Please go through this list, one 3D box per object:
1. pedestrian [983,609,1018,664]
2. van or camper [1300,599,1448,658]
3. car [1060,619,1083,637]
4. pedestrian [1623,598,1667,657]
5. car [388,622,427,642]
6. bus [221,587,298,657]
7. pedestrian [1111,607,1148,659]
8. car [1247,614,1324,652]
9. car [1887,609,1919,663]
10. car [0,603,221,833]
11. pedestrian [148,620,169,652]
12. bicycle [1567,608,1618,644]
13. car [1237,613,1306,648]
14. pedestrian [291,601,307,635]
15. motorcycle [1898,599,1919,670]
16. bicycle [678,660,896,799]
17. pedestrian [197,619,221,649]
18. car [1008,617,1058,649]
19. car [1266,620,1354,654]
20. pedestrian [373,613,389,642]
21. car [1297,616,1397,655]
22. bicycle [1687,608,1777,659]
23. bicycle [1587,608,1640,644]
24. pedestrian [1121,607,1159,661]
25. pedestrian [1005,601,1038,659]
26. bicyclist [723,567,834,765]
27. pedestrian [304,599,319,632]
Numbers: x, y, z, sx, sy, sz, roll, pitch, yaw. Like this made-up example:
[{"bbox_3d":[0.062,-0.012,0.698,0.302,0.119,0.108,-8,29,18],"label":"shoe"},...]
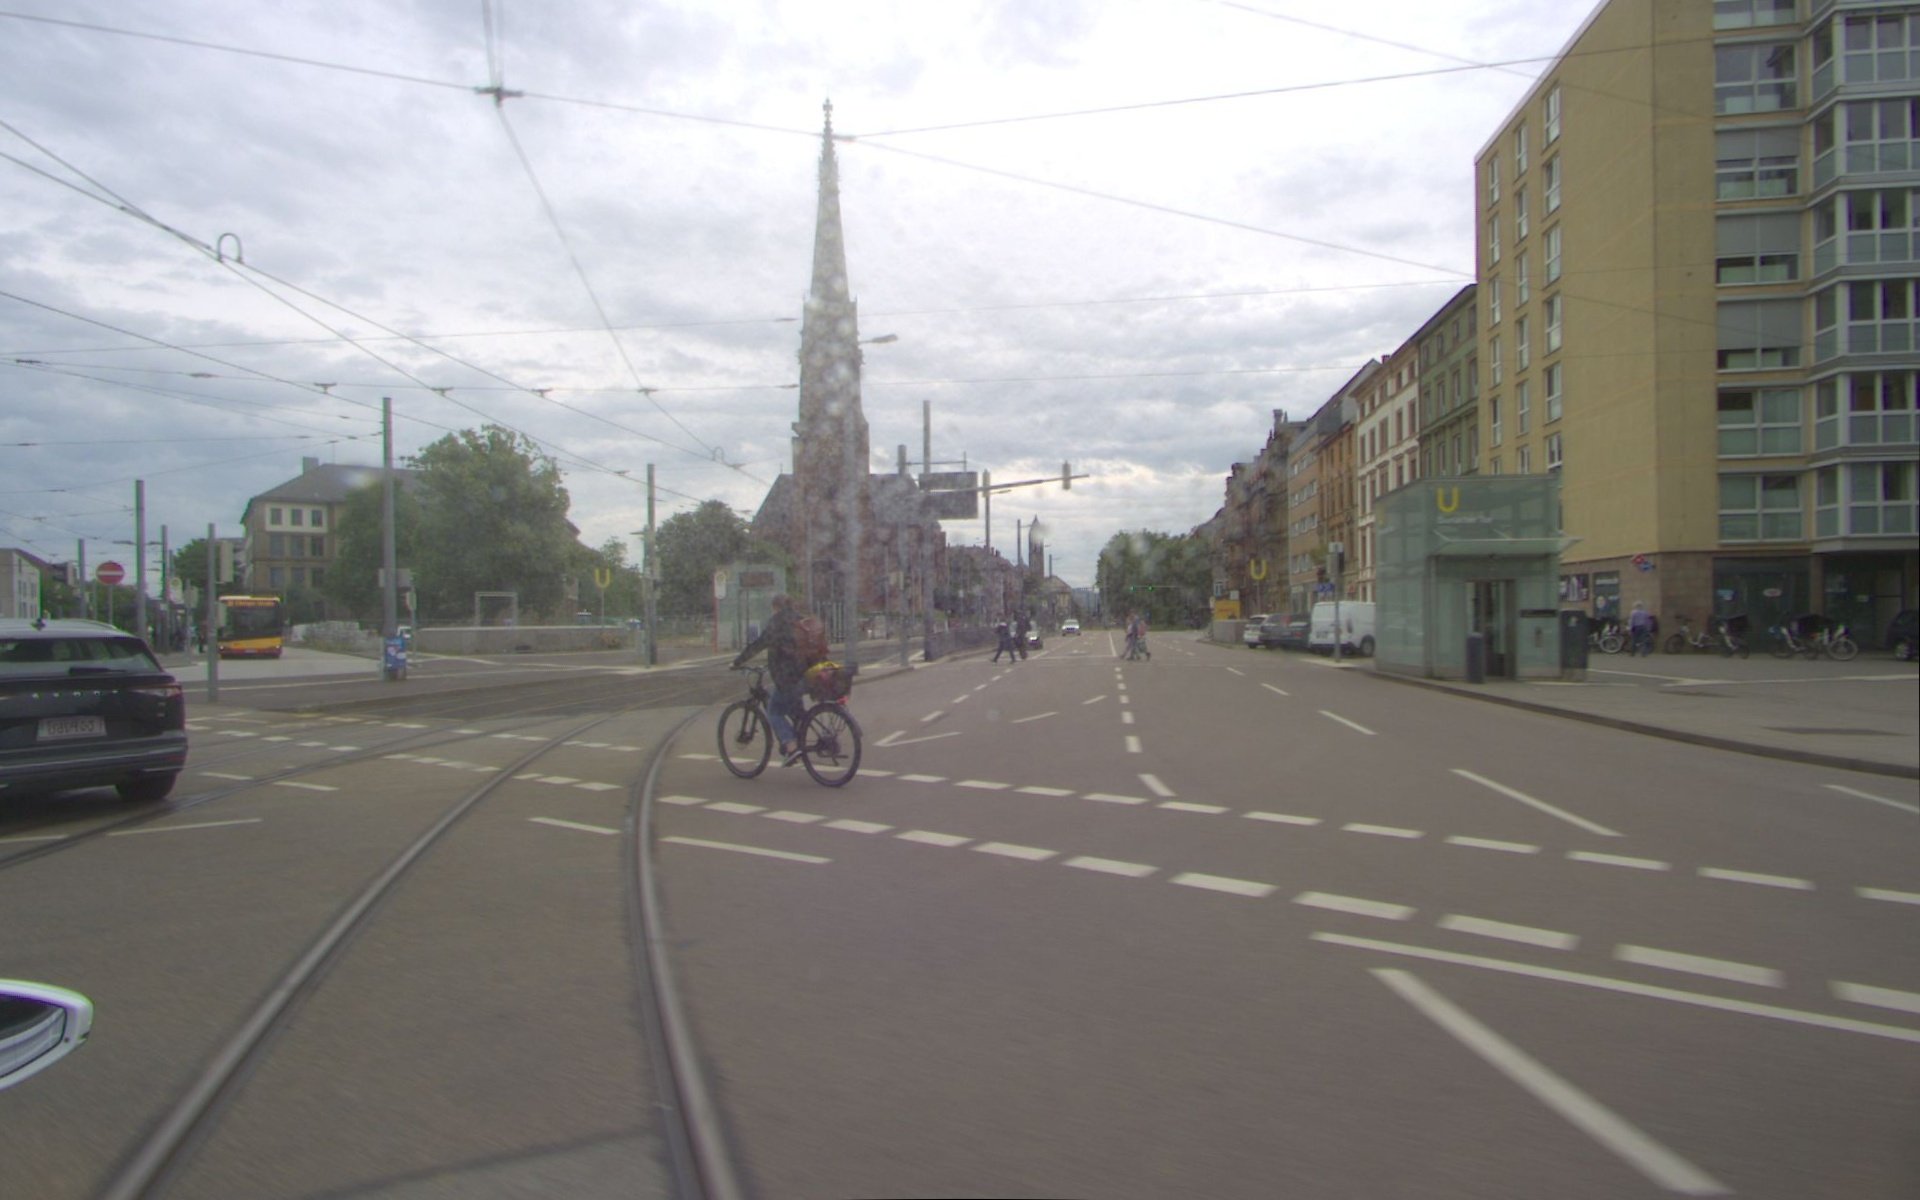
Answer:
[{"bbox_3d":[1.236,1.110,30.736,0.887,1.665,0.783,-1,0,-14],"label":"pedestrian"},{"bbox_3d":[15.078,0.991,36.355,5.388,2.004,2.161,0,-1,-30],"label":"van or camper"},{"bbox_3d":[11.519,2.910,103.381,1.962,1.772,3.998,-1,-1,11],"label":"car"},{"bbox_3d":[21.011,0.835,30.725,0.797,1.760,0.906,0,0,7],"label":"pedestrian"},{"bbox_3d":[-49.103,2.860,88.949,3.956,1.683,1.899,-2,-1,42],"label":"car"},{"bbox_3d":[-37.119,1.162,52.967,2.988,3.310,12.952,0,-1,-36],"label":"bus"},{"bbox_3d":[5.342,1.035,31.595,0.934,1.633,0.767,-1,0,-14],"label":"pedestrian"},{"bbox_3d":[14.813,1.473,45.539,1.873,1.603,3.703,-1,-1,45],"label":"car"},{"bbox_3d":[27.234,0.998,26.557,1.806,1.462,4.165,-1,0,8],"label":"car"},{"bbox_3d":[-8.716,0.905,8.838,4.447,1.680,1.901,-1,-1,30],"label":"car"},{"bbox_3d":[-46.248,2.076,57.797,0.815,1.832,1.015,-1,0,-33],"label":"pedestrian"},{"bbox_3d":[21.960,0.883,34.827,0.657,1.184,2.040,0,0,6],"label":"bicycle"},{"bbox_3d":[15.140,1.444,48.620,1.719,1.608,3.703,-1,-1,45],"label":"car"},{"bbox_3d":[-85.970,2.340,130.192,1.331,4.309,1.381,-1,0,40],"label":"pedestrian"},{"bbox_3d":[19.699,0.663,19.270,1.027,1.383,2.292,-7,0,0],"label":"motorcycle"},{"bbox_3d":[-1.607,1.119,9.102,2.096,1.069,0.623,-1,0,33],"label":"bicycle"},{"bbox_3d":[-42.724,1.908,56.978,0.994,1.666,1.015,-1,0,-33],"label":"pedestrian"},{"bbox_3d":[3.767,1.633,50.879,1.962,1.505,4.443,-1,-1,11],"label":"car"},{"bbox_3d":[14.700,1.512,42.024,3.690,1.321,1.670,0,-1,-35],"label":"car"},{"bbox_3d":[-36.730,1.745,63.560,0.815,1.832,1.015,-1,0,-33],"label":"pedestrian"},{"bbox_3d":[15.384,1.366,39.804,3.682,1.436,1.728,0,0,-28],"label":"car"},{"bbox_3d":[22.239,0.940,28.918,0.886,1.395,2.782,-1,-1,11],"label":"bicycle"},{"bbox_3d":[22.634,0.877,34.716,0.657,1.184,2.040,0,0,6],"label":"bicycle"},{"bbox_3d":[5.534,1.043,30.845,0.880,1.623,0.783,-1,0,-14],"label":"pedestrian"},{"bbox_3d":[2.083,1.027,34.011,0.887,1.937,0.783,-1,0,-14],"label":"pedestrian"},{"bbox_3d":[-1.653,0.580,9.128,0.794,1.713,0.614,0,0,33],"label":"bicyclist"},{"bbox_3d":[-85.017,1.989,131.316,1.332,4.309,1.300,-1,0,42],"label":"pedestrian"}]
